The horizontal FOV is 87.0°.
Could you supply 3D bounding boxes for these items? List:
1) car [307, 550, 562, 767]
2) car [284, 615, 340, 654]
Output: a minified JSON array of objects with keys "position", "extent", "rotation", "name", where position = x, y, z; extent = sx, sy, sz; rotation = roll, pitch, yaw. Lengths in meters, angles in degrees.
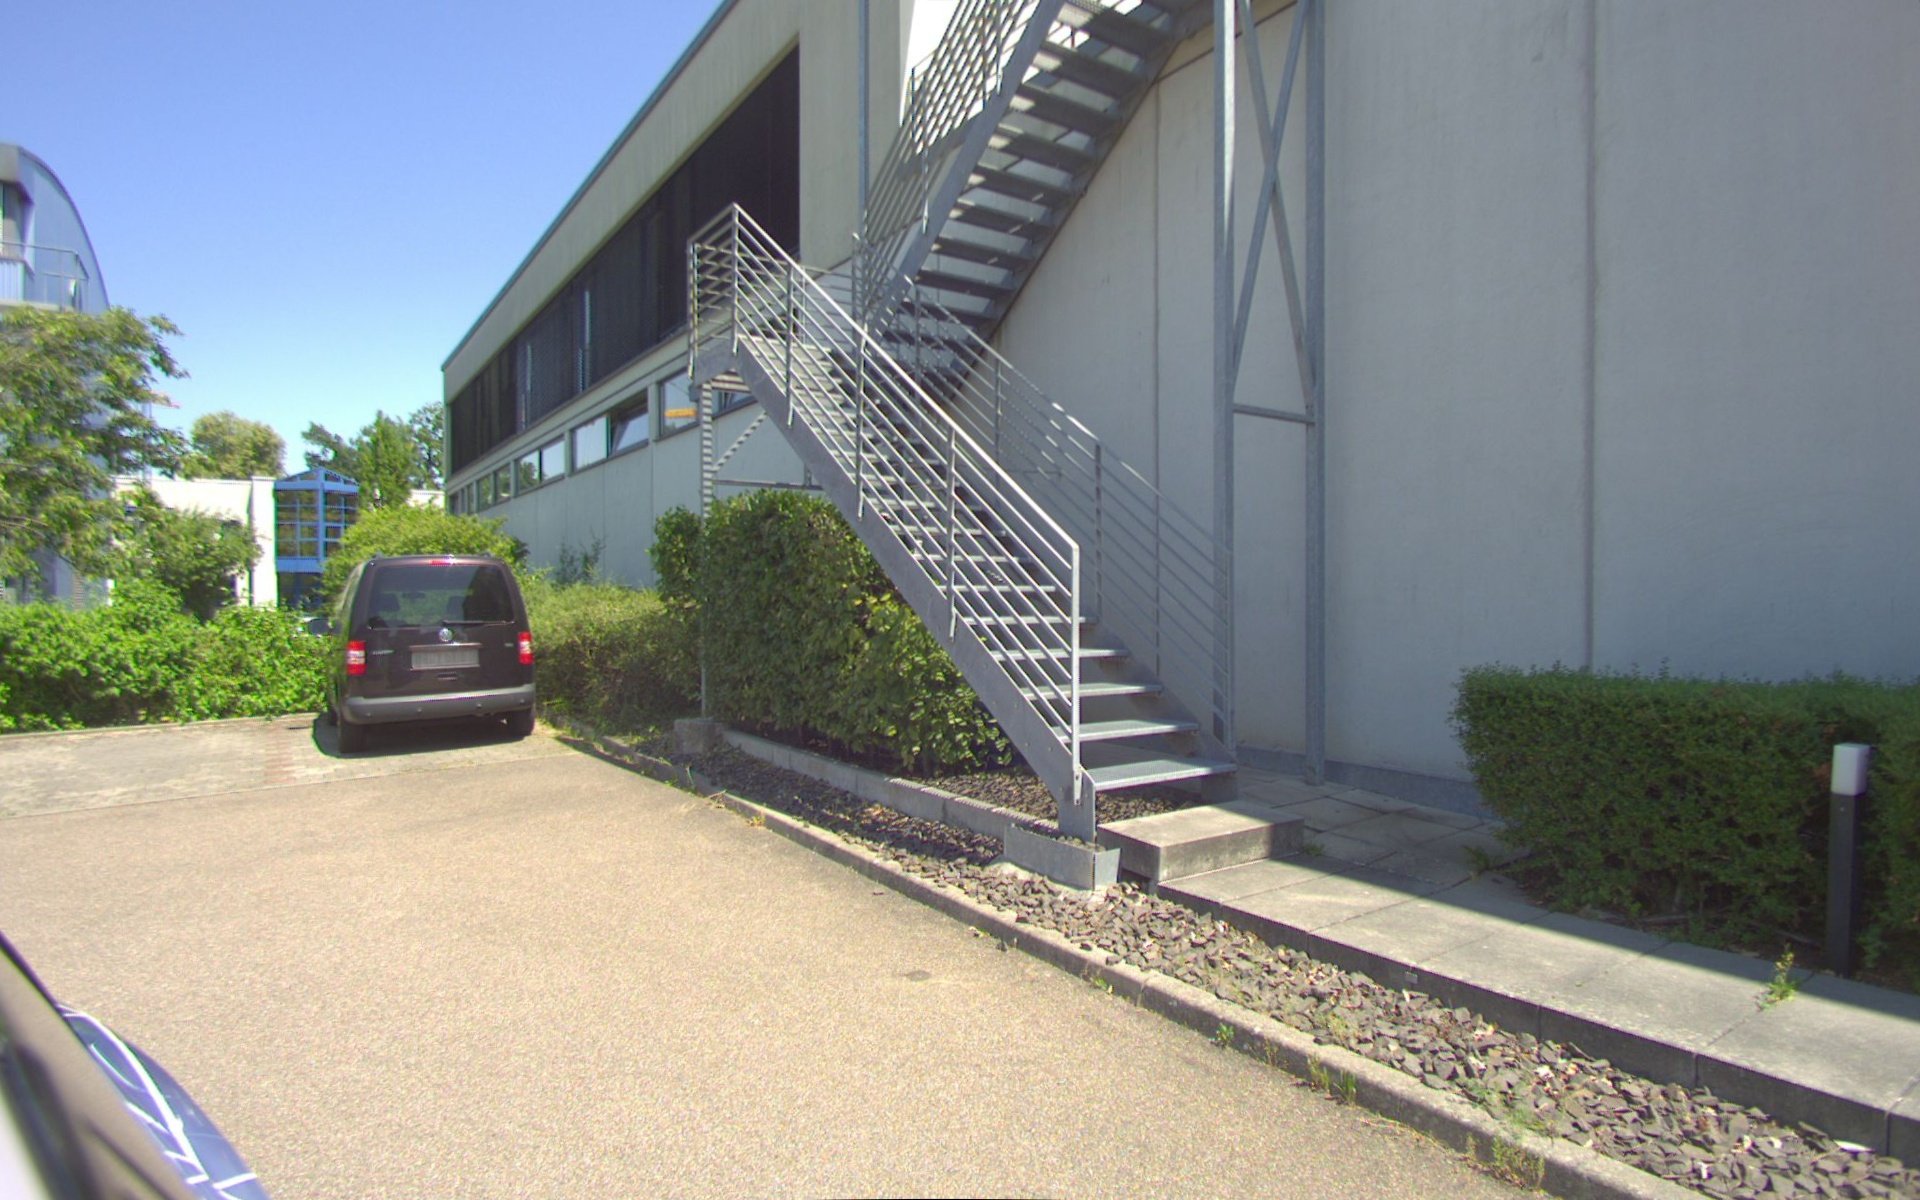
[{"position":[-5.857,0.492,10.987],"extent":[1.838,1.874,4.239],"rotation":[-2,1,-36],"name":"car"},{"position":[-29.780,1.549,46.469],"extent":[1.807,1.579,4.008],"rotation":[-1,1,-38],"name":"car"}]
